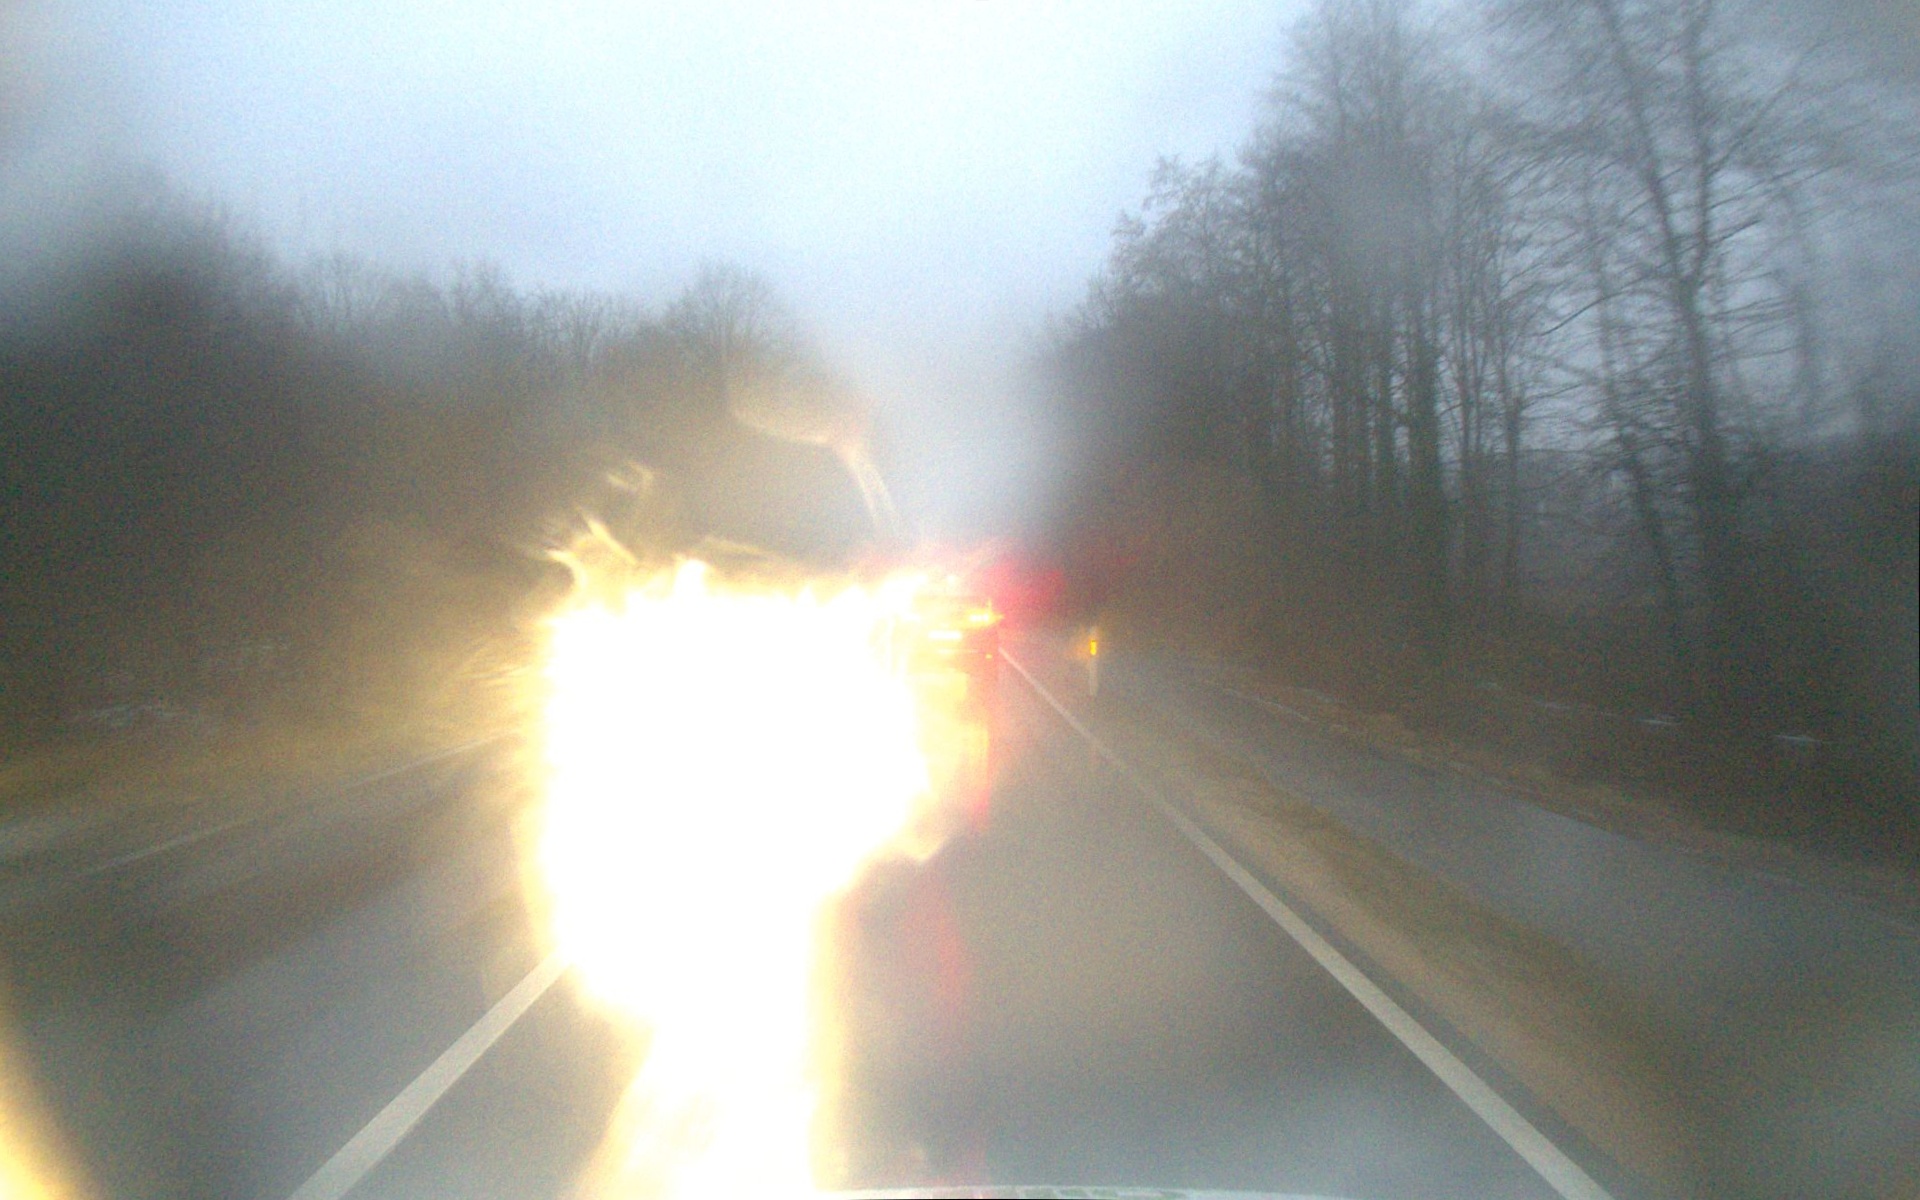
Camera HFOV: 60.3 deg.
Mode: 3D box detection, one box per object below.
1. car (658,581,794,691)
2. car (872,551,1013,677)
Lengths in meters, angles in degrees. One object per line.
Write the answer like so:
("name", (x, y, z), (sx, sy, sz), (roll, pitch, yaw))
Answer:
("car", (-3.604, 0.502, 26.105), (1.713, 1.579, 3.992), (0, 1, -2))
("car", (-0.323, 0.186, 28.020), (2.153, 1.910, 4.826), (1, 1, -1))
